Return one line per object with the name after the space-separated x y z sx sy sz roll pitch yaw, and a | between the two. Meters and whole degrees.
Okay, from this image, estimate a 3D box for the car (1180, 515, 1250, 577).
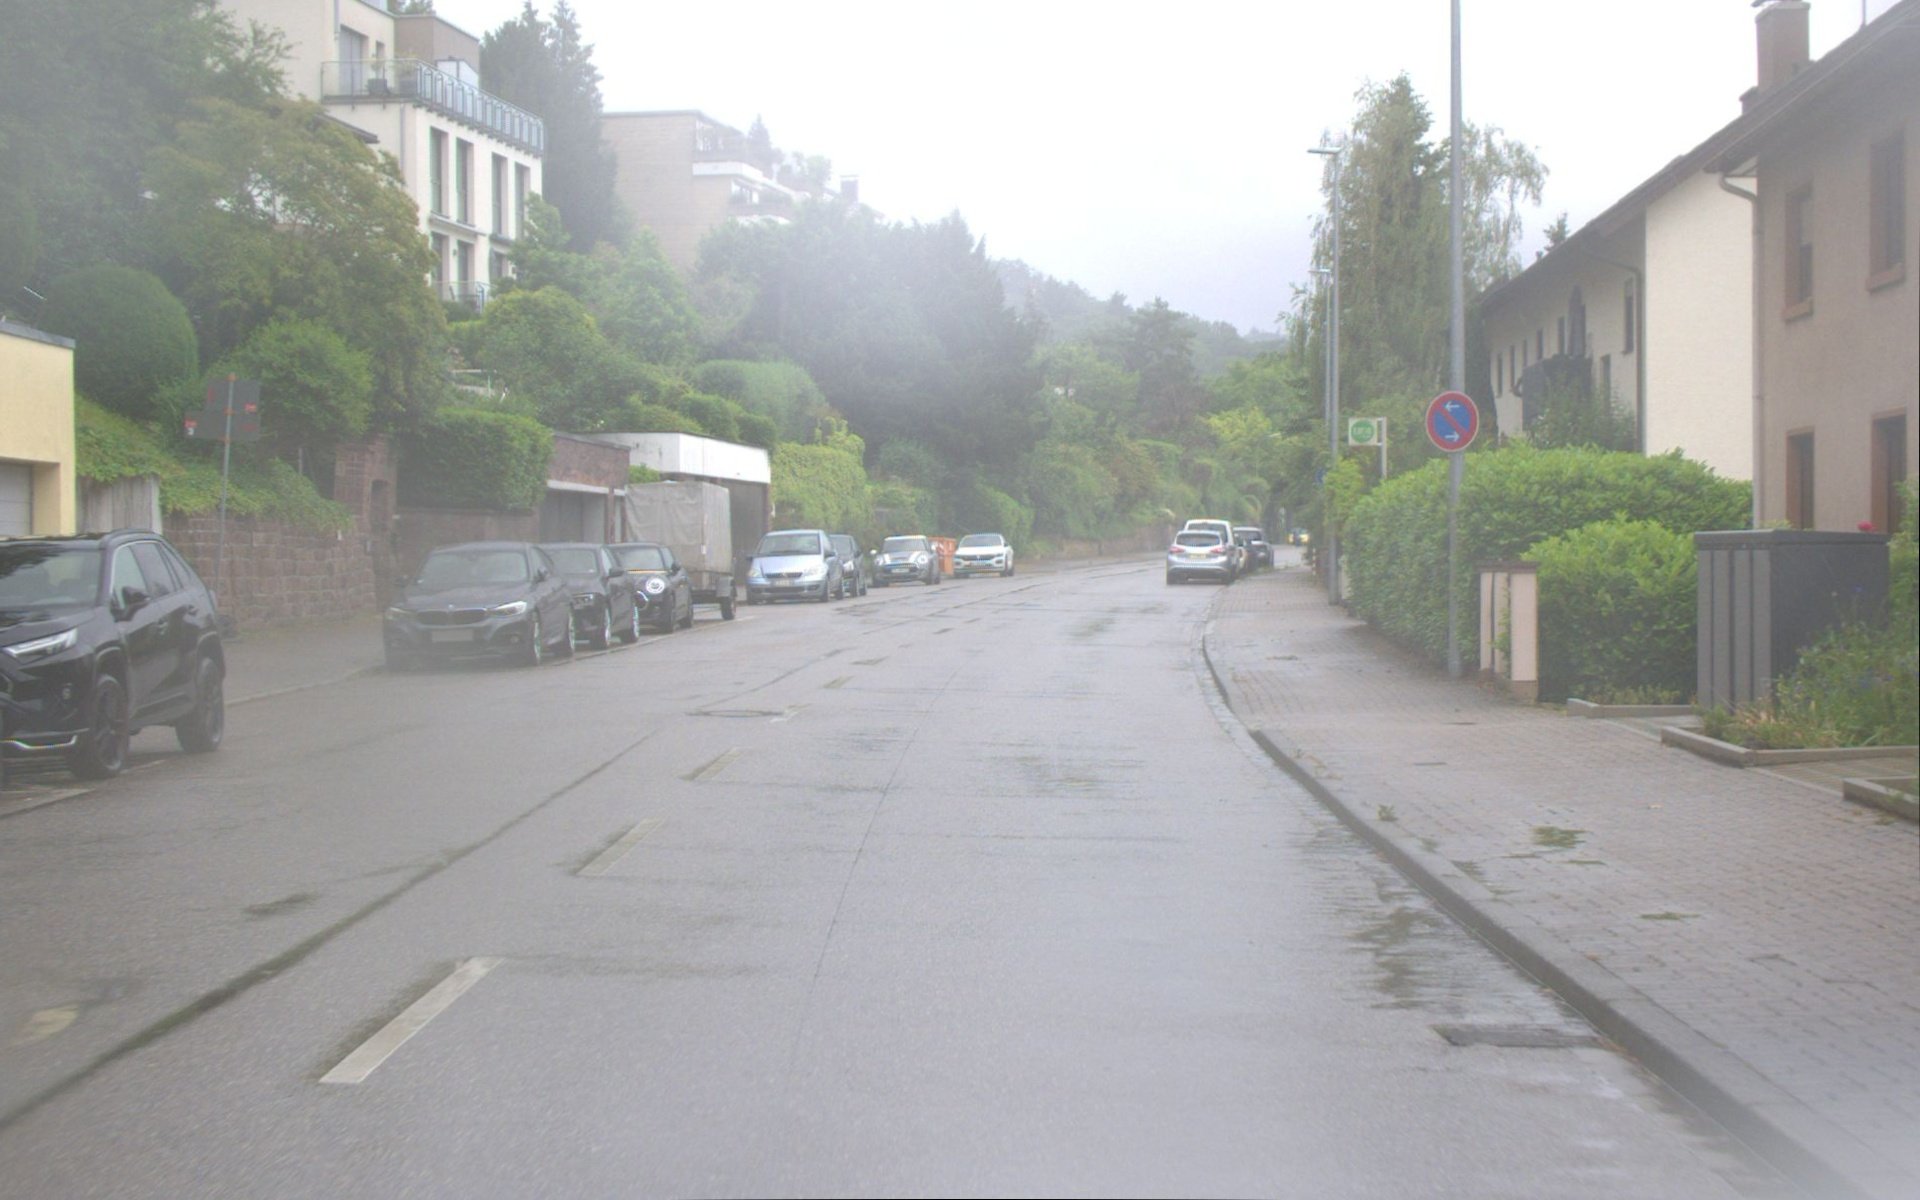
7.637 -1.608 102.574 1.785 1.784 4.360 1 1 8 | car

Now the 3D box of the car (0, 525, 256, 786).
-6.411 0.327 23.959 1.874 1.620 4.593 -2 1 2 | car

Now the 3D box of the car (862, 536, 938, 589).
-1.670 -1.072 97.350 1.756 1.398 3.769 -2 1 4 | car

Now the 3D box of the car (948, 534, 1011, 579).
0.673 -1.454 116.388 1.756 1.492 4.219 -1 0 5 | car

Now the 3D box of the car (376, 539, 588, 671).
-5.790 0.019 42.158 1.785 1.450 4.755 -2 1 1 | car

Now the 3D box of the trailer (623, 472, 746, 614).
-4.806 -1.004 60.281 1.537 2.391 3.072 -2 1 6 | trailer

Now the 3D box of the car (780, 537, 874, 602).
-3.081 -0.738 80.287 1.756 1.404 3.704 -2 1 4 | car

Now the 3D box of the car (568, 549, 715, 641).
-5.003 -0.108 54.440 1.808 1.345 3.776 -1 1 3 | car

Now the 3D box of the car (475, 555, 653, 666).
-5.453 0.115 47.838 1.785 1.410 4.217 -1 1 3 | car

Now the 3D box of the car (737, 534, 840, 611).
-3.701 -0.618 74.724 1.756 1.534 3.756 -2 1 4 | car

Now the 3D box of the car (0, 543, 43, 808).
-6.578 0.488 18.970 1.742 1.555 4.109 -2 1 3 | car

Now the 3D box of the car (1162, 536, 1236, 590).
6.769 -1.043 97.012 1.790 1.455 4.307 1 1 8 | car
